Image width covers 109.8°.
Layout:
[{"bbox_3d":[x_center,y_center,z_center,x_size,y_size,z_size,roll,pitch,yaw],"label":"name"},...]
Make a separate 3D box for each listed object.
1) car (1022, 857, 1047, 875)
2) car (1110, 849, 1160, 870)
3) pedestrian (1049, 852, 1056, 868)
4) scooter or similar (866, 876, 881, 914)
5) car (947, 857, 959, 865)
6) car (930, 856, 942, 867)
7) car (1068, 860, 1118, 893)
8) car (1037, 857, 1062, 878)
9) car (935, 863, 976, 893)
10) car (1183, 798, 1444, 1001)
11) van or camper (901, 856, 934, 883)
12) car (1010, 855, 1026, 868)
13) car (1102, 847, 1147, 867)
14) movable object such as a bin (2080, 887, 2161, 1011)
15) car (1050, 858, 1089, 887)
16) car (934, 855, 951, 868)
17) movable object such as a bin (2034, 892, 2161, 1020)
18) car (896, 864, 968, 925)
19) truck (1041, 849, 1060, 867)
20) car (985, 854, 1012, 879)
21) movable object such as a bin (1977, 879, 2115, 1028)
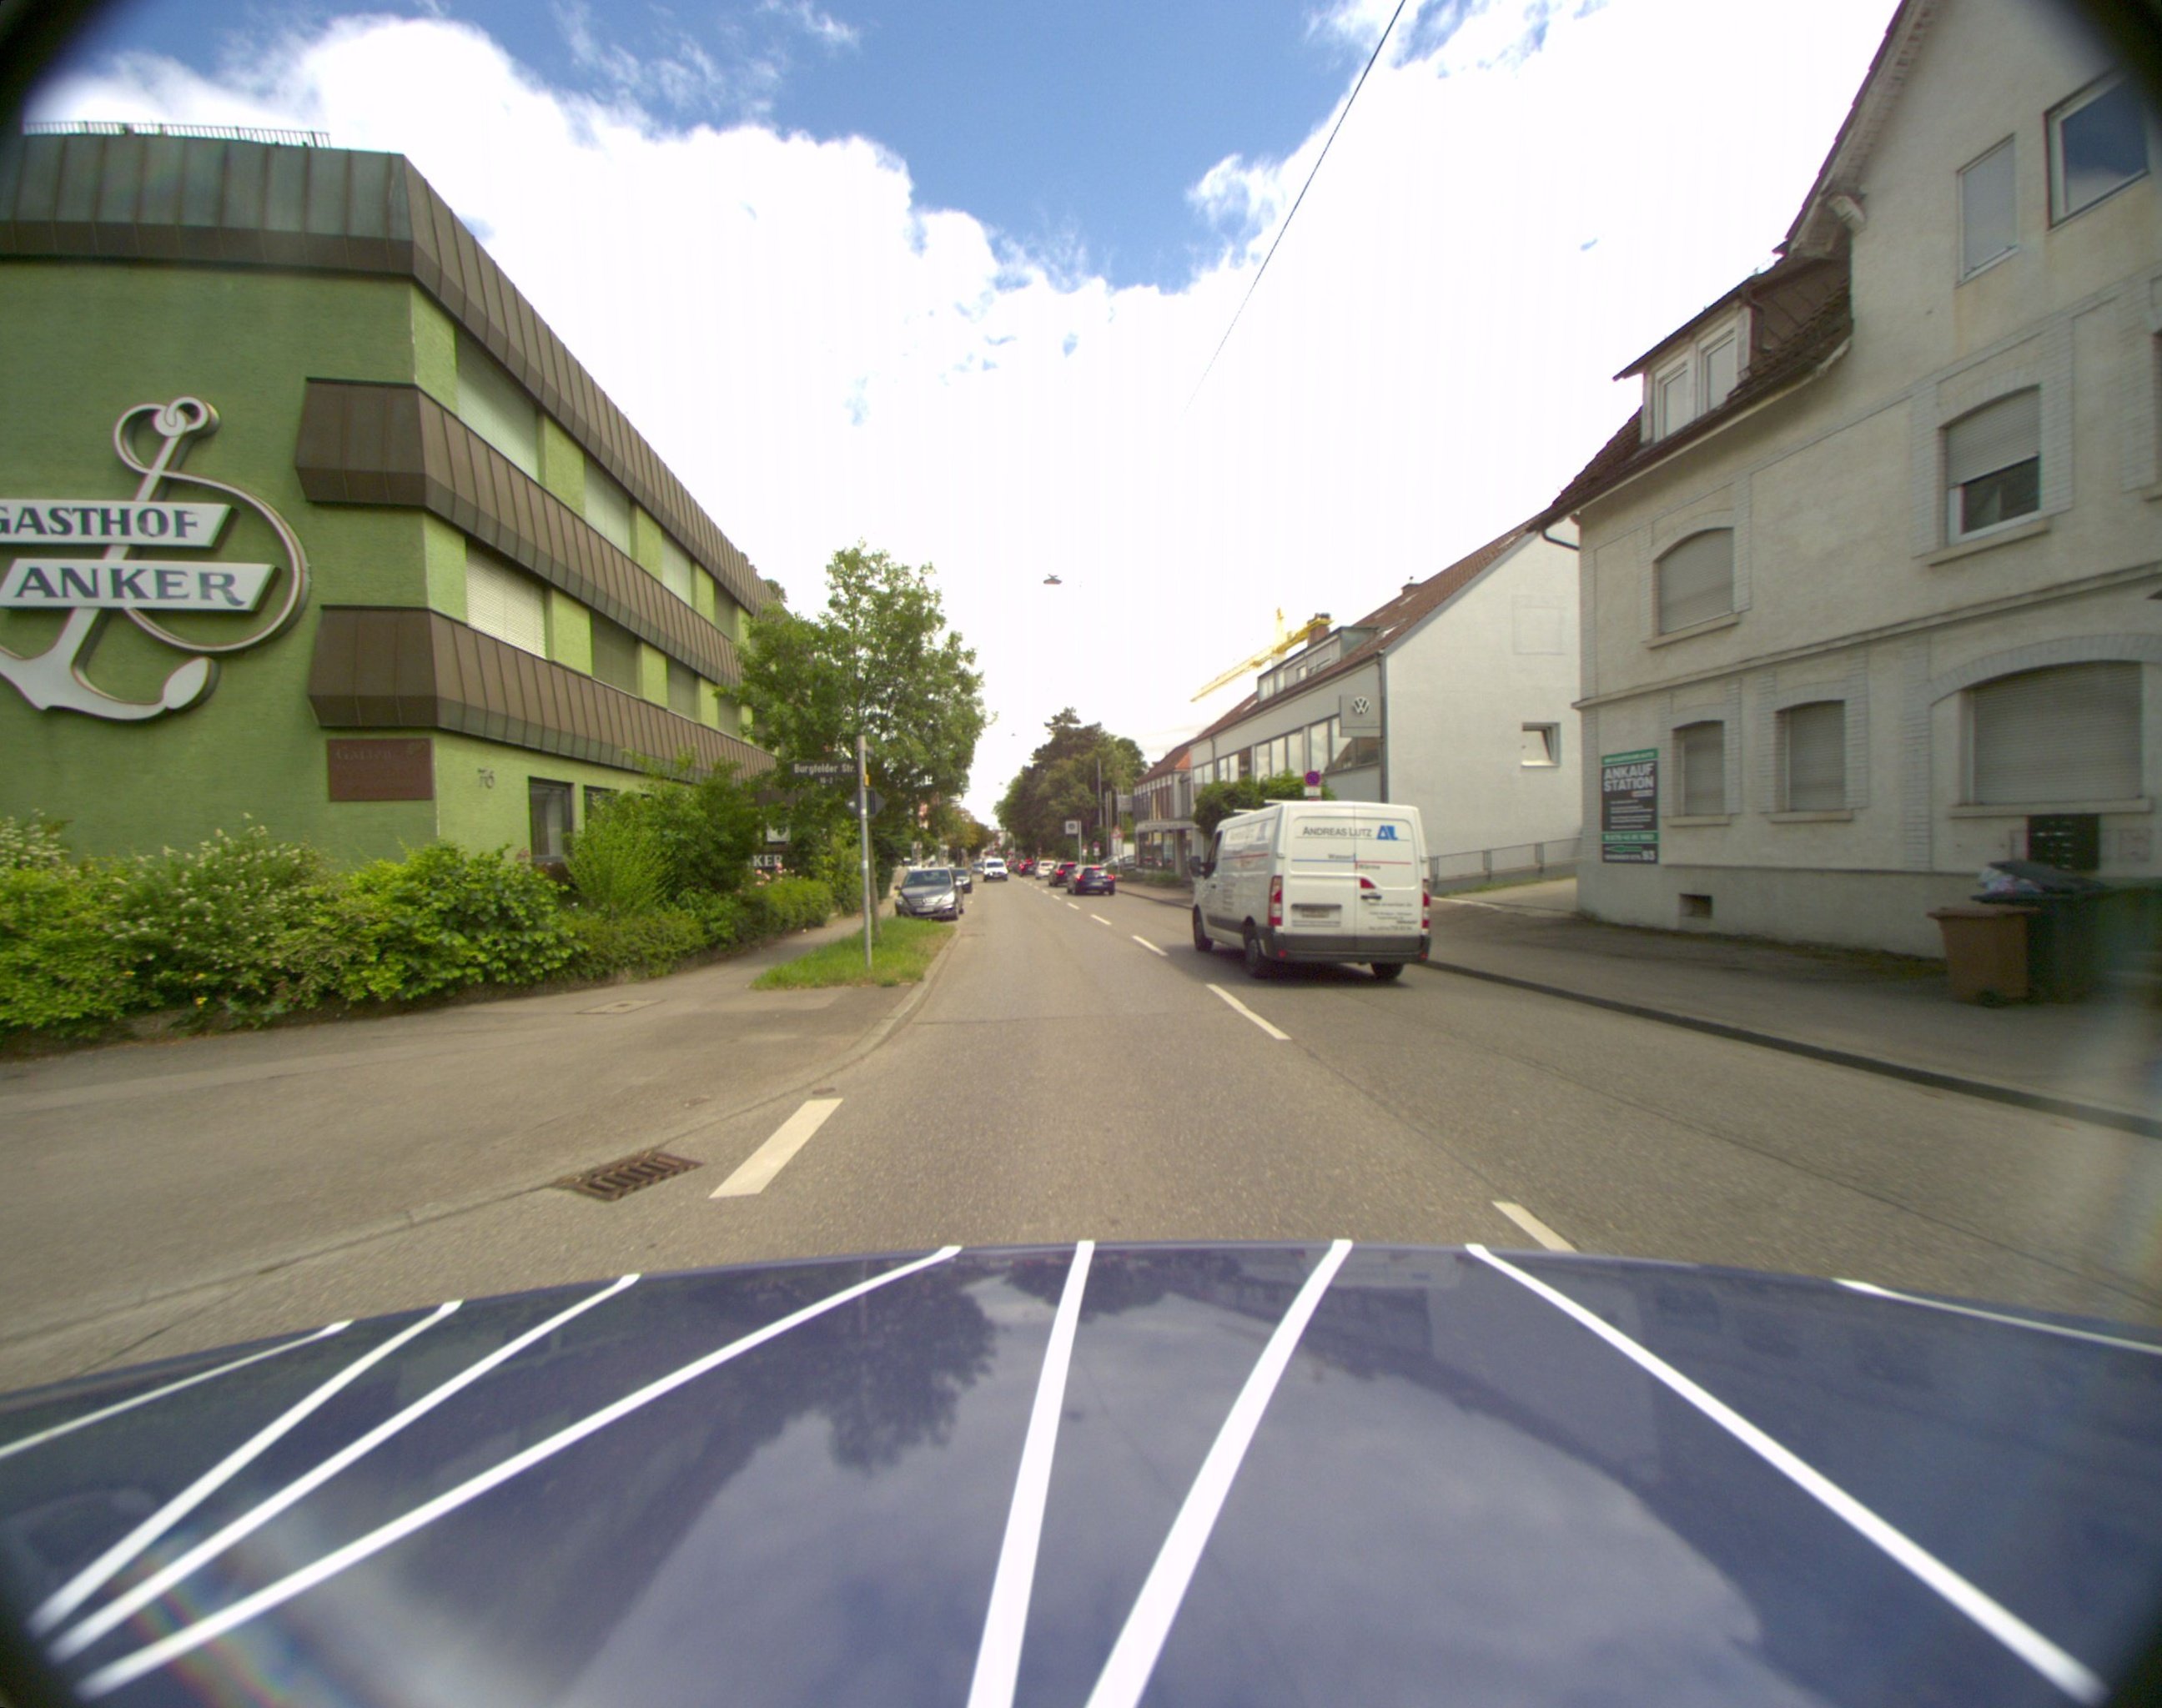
[{"bbox_3d":[-4.431,1.121,72.186,1.837,1.514,4.166,-1,1,-11],"label":"car"},{"bbox_3d":[4.696,0.483,66.779,4.026,1.621,1.653,-4,0,-9],"label":"car"},{"bbox_3d":[-3.180,0.676,84.944,0.685,1.727,0.867,-3,1,-8],"label":"pedestrian"},{"bbox_3d":[-7.354,1.426,26.932,0.302,1.297,1.403,1,-1,-7],"label":"scooter or similar"},{"bbox_3d":[-21.134,1.124,125.369,1.791,1.309,4.477,-1,0,-10],"label":"car"},{"bbox_3d":[-21.151,1.049,110.892,1.640,1.519,4.199,2,0,-10],"label":"car"},{"bbox_3d":[0.484,1.005,35.135,1.776,1.417,4.106,0,0,-7],"label":"car"},{"bbox_3d":[-2.578,1.060,61.531,1.695,1.570,3.797,-1,1,-8],"label":"car"},{"bbox_3d":[-6.903,1.283,42.212,1.990,1.440,4.748,-1,1,-7],"label":"car"},{"bbox_3d":[3.085,0.574,11.496,2.069,2.339,5.181,1,-1,-3],"label":"car"},{"bbox_3d":[-13.327,1.221,62.112,1.872,2.020,4.545,-3,1,-4],"label":"van or camper"},{"bbox_3d":[-8.209,0.948,98.680,1.871,1.608,4.532,-1,-1,-7],"label":"car"},{"bbox_3d":[3.992,0.264,69.933,3.751,1.551,1.533,-4,0,-9],"label":"car"},{"bbox_3d":[10.248,0.893,7.314,0.566,1.095,0.562,-4,2,-11],"label":"movable object such as a bin"},{"bbox_3d":[-0.747,1.073,45.755,1.781,1.514,4.458,-1,1,-8],"label":"car"},{"bbox_3d":[-18.490,0.932,101.480,1.620,1.586,4.157,4,0,-4],"label":"car"},{"bbox_3d":[9.639,0.941,7.190,0.566,1.095,0.562,-4,2,-11],"label":"movable object such as a bin"},{"bbox_3d":[-4.497,1.173,23.506,1.695,1.656,4.460,-1,-1,-5],"label":"car"},{"bbox_3d":[-4.374,0.504,108.422,2.313,2.406,6.089,-3,1,-6],"label":"truck"},{"bbox_3d":[-6.625,0.945,60.685,1.967,1.796,4.426,-3,1,-7],"label":"car"},{"bbox_3d":[8.910,0.887,7.031,0.566,1.265,0.562,-4,1,-11],"label":"movable object such as a bin"}]
